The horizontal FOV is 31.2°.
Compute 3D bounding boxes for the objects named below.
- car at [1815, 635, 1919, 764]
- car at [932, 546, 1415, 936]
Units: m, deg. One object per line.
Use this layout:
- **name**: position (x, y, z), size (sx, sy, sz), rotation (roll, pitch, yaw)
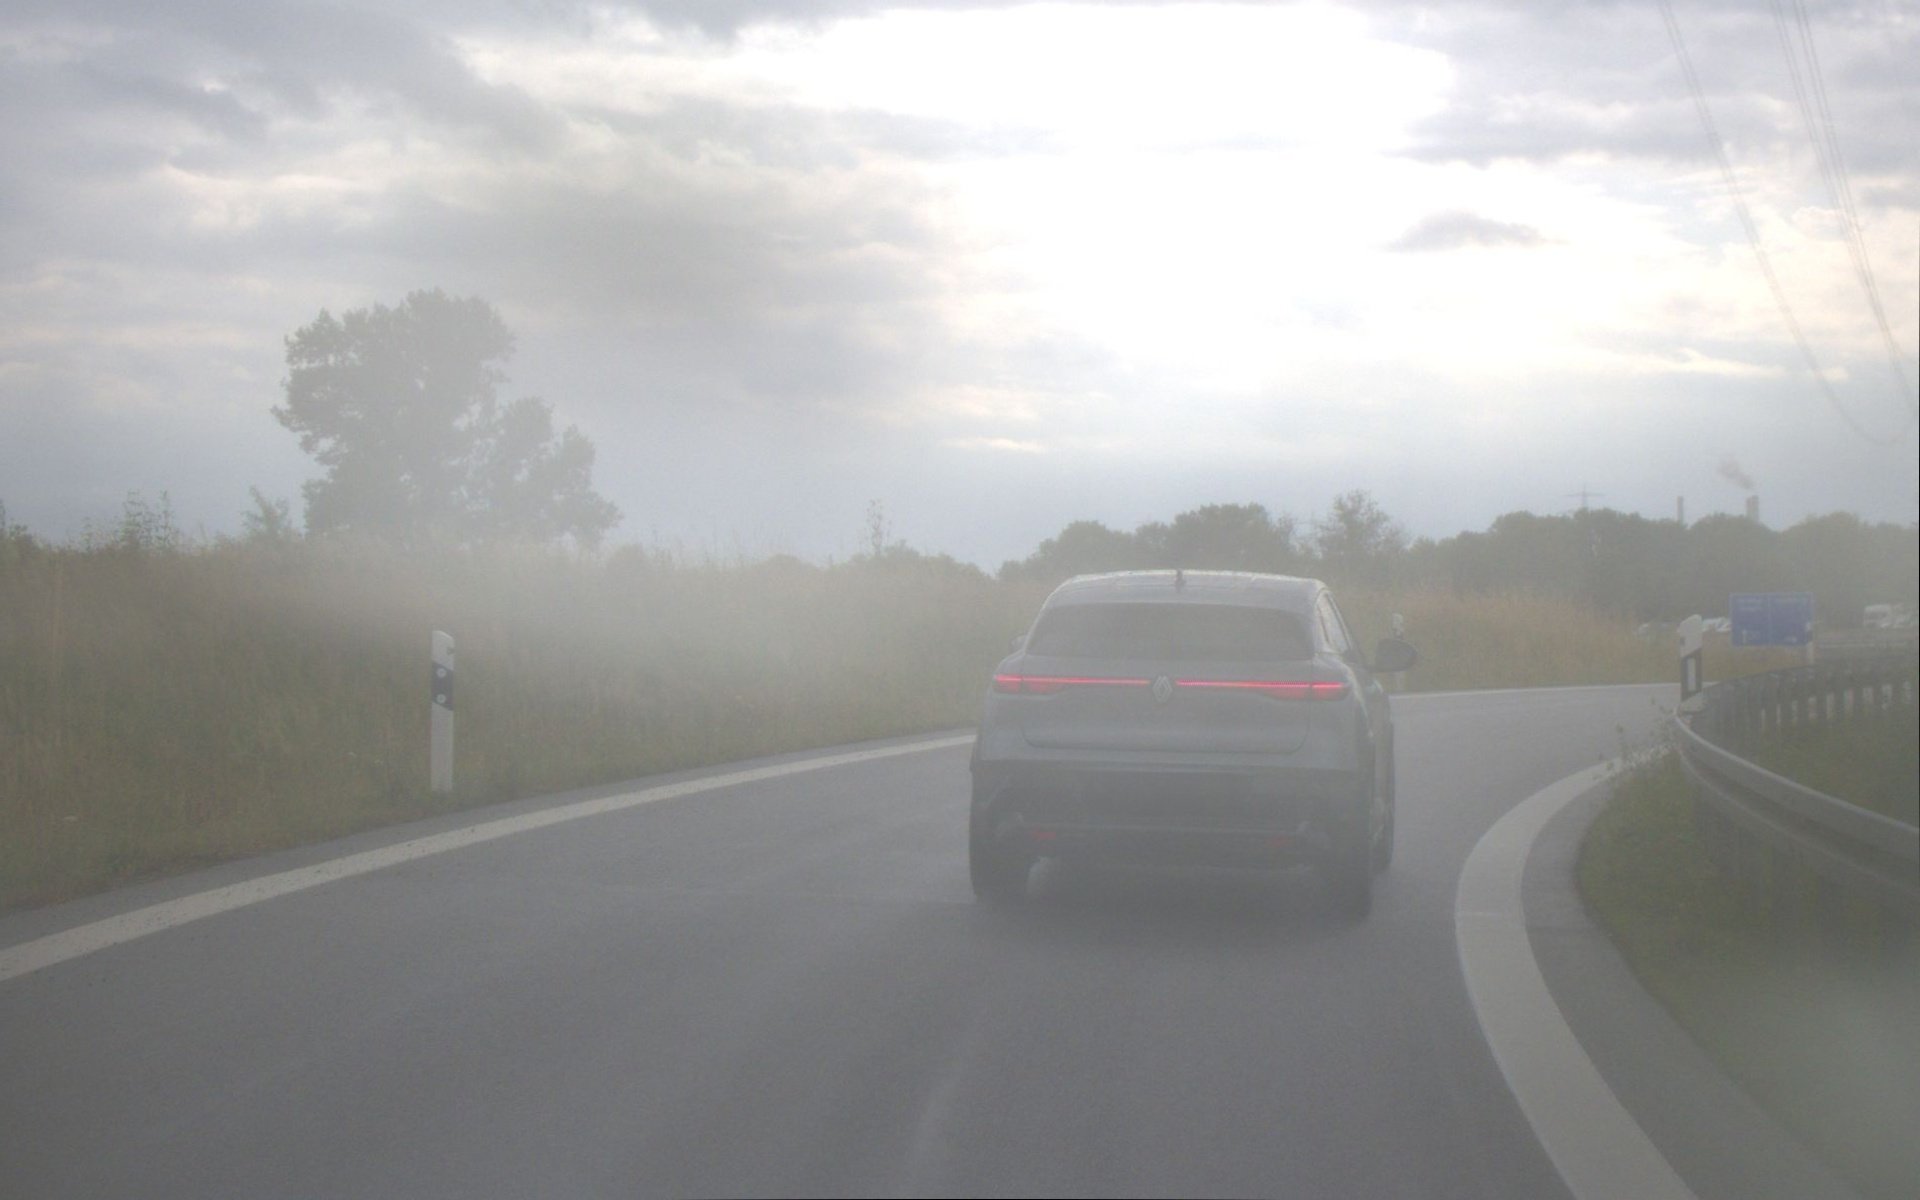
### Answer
- **car**: position (15.917, 1.589, 56.668), size (2.124, 2.011, 5.525), rotation (-1, -1, 29)
- **car**: position (1.154, 0.562, 16.681), size (1.994, 1.561, 4.148), rotation (2, 1, 7)
